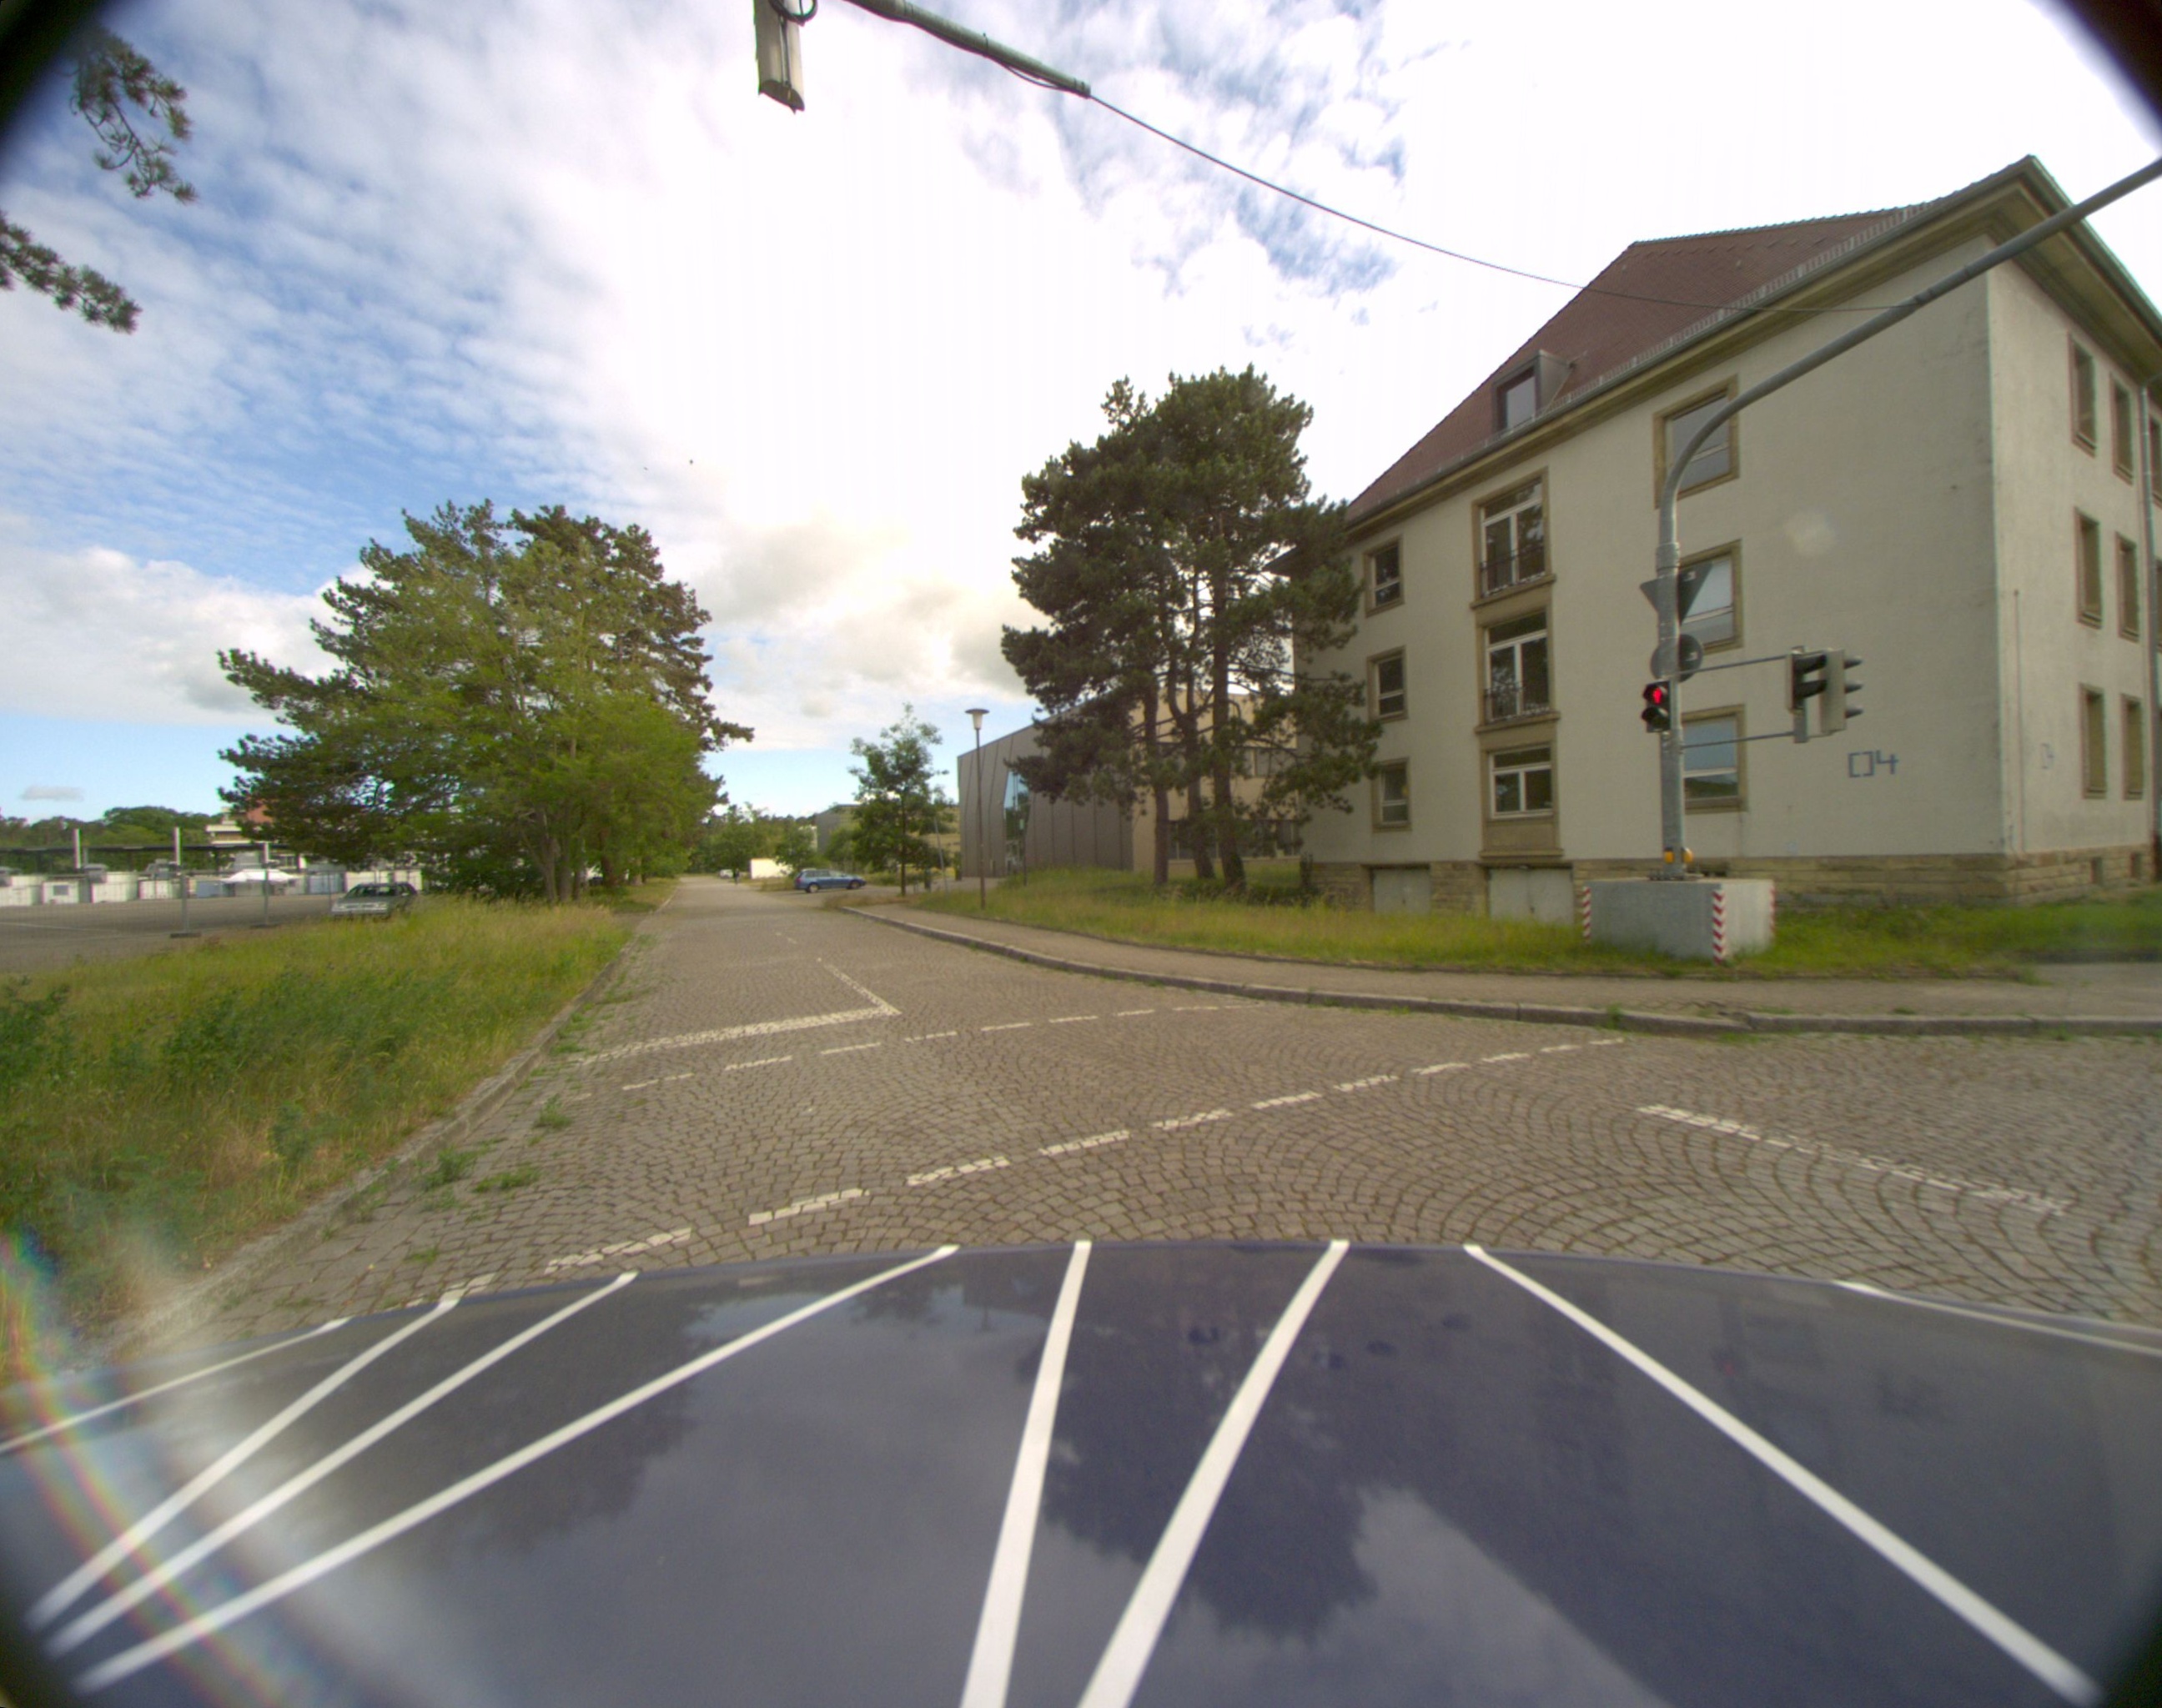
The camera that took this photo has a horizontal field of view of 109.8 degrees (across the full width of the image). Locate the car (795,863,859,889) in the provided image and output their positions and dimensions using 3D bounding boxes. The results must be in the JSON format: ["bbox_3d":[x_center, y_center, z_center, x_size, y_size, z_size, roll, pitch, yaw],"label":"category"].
[{"bbox_3d":[-19.017,1.628,56.988,4.201,1.577,1.834,-5,2,-30],"label":"car"}]

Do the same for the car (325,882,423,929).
[{"bbox_3d":[-26.330,1.850,28.457,1.867,1.465,4.141,-2,0,-31],"label":"car"}]

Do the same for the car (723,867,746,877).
[{"bbox_3d":[-69.039,3.669,151.574,4.087,1.828,1.782,-2,0,-25],"label":"car"}]

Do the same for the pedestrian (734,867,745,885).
[{"bbox_3d":[-33.350,2.100,74.222,0.876,1.713,1.005,-2,1,-22],"label":"pedestrian"}]

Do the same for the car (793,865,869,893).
[{"bbox_3d":[-16.425,1.603,49.980,4.423,1.455,1.834,-5,2,-30],"label":"car"}]

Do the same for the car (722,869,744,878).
[{"bbox_3d":[-70.299,3.990,153.468,4.087,1.565,1.782,-2,0,-25],"label":"car"}]
